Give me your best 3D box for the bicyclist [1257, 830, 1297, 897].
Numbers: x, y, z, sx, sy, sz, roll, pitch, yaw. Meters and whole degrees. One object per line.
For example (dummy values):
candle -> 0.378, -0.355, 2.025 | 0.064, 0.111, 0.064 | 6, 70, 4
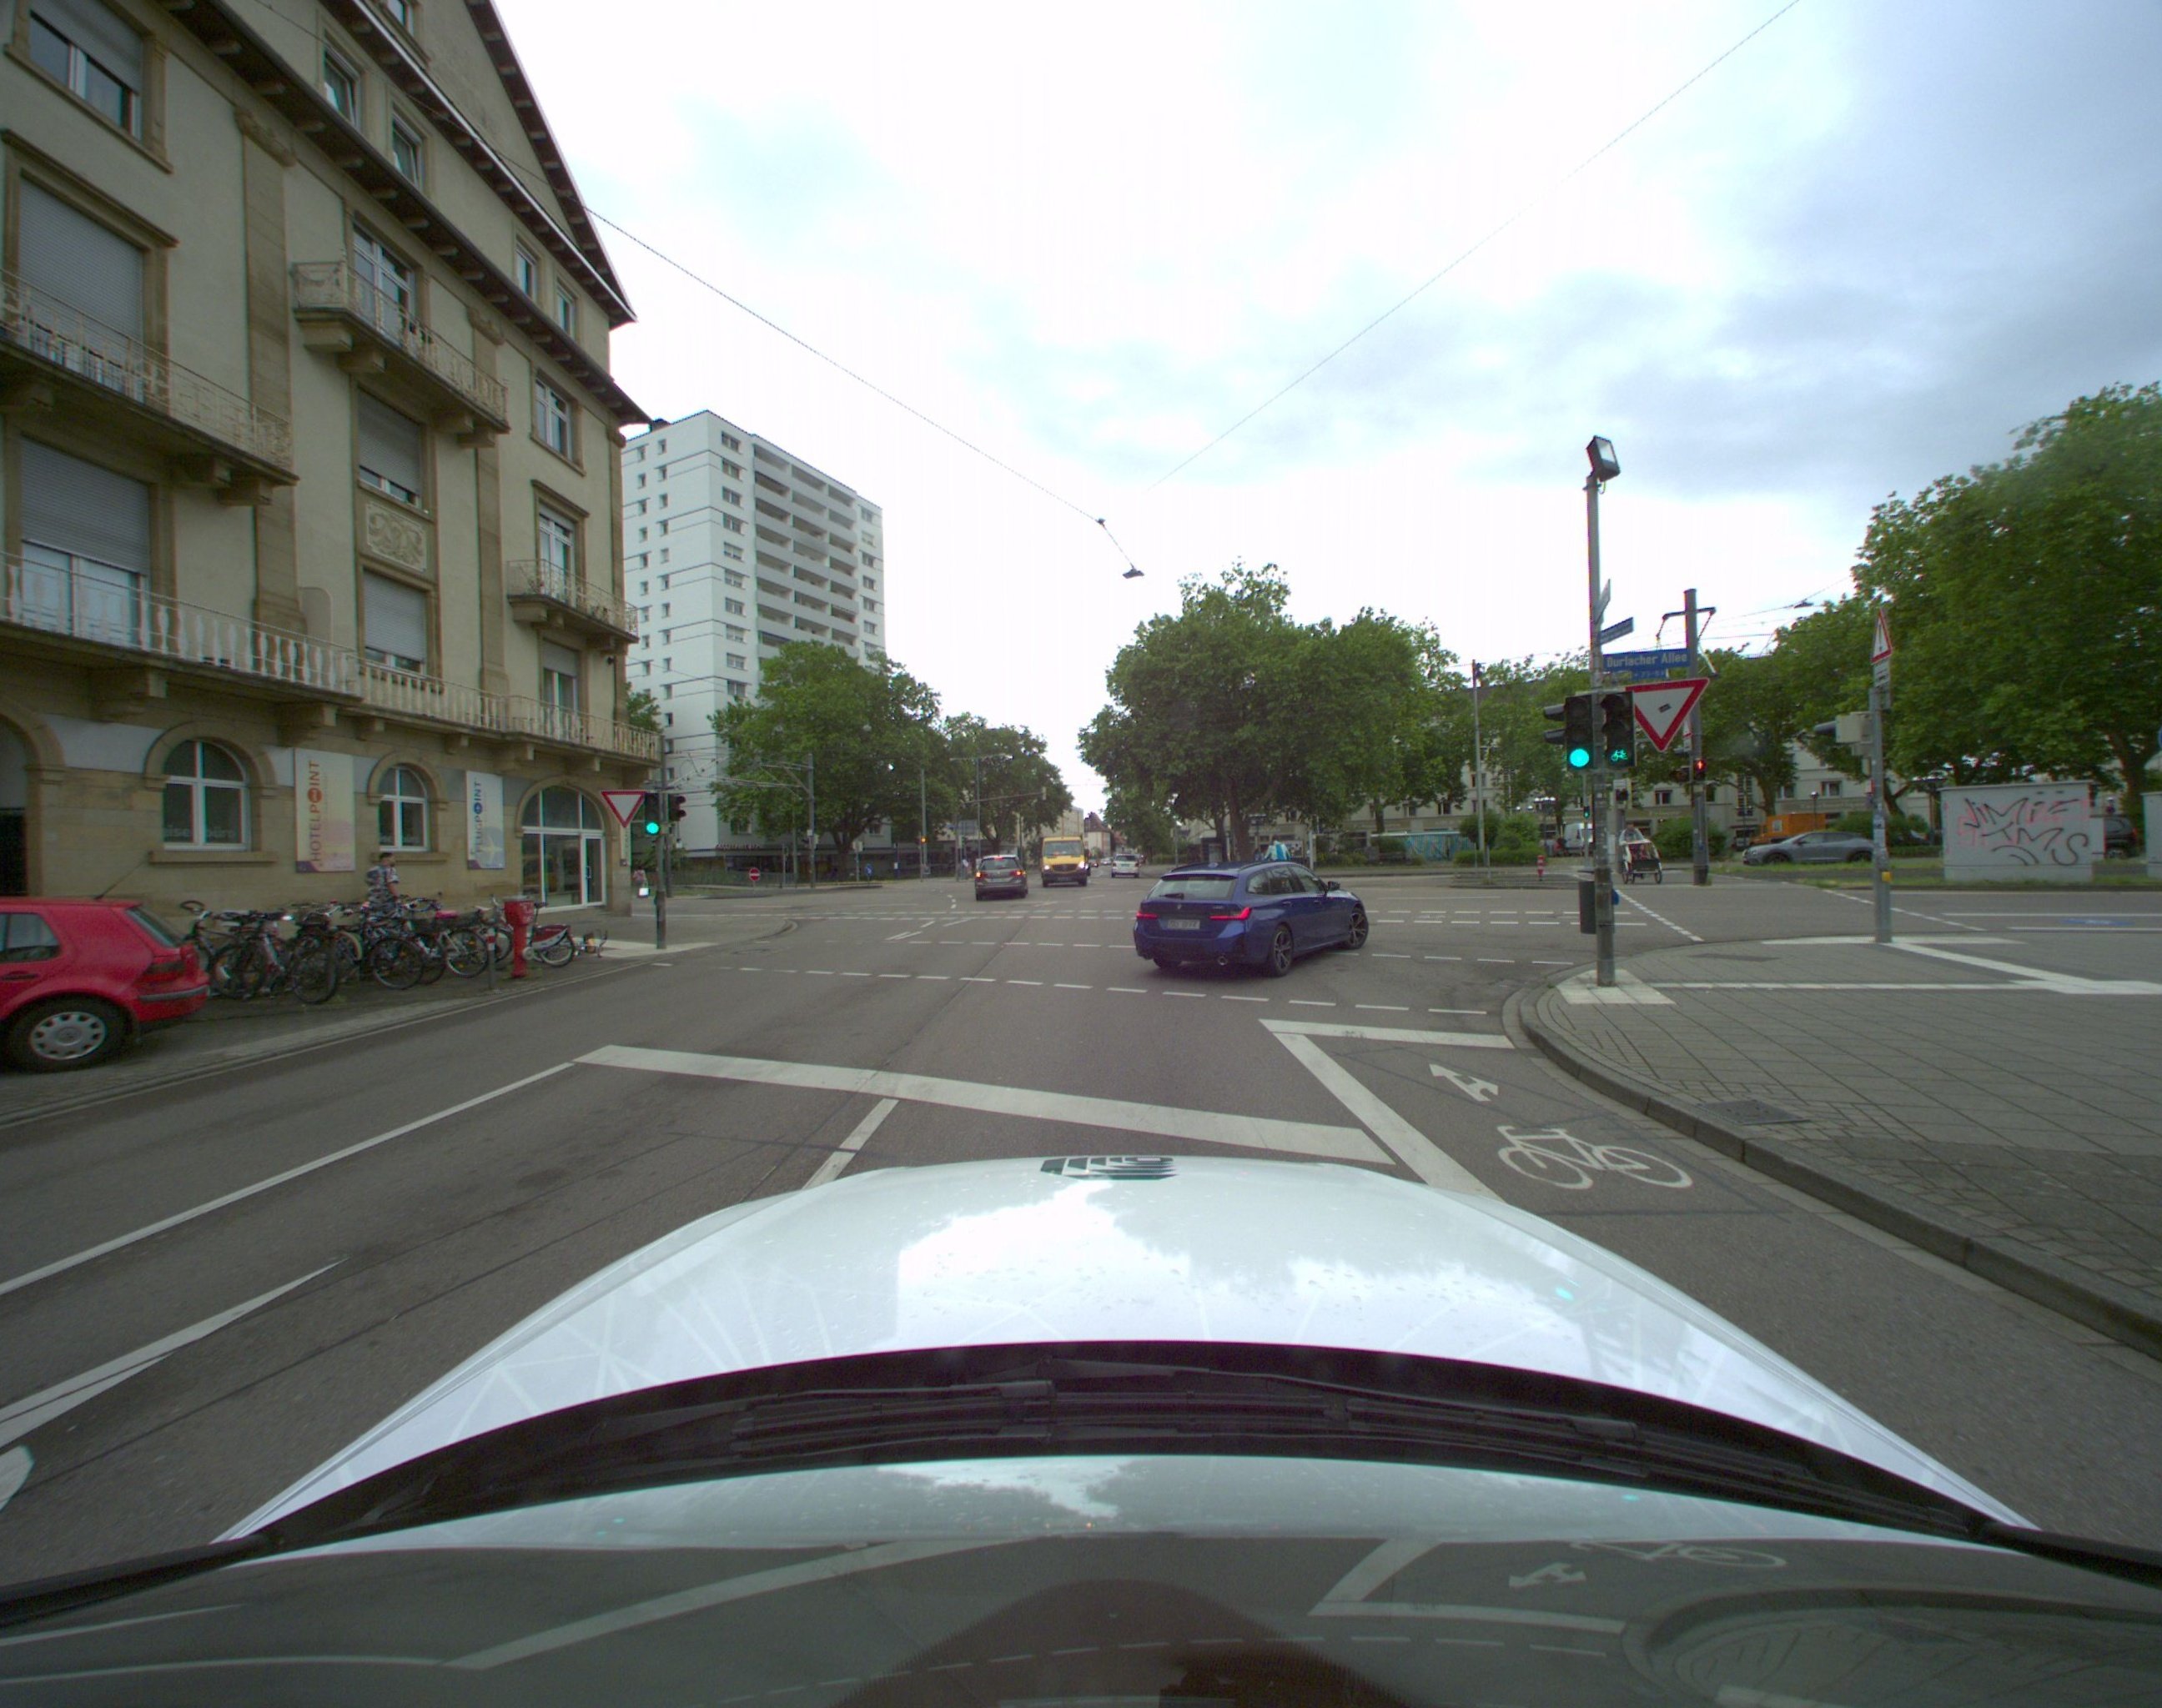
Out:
bicyclist -> 4.603, 0.221, 19.186 | 0.683, 1.517, 1.059 | -2, 0, 2

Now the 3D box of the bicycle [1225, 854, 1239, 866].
bicycle -> 15.757, 0.622, 84.848 | 0.771, 1.168, 2.347 | -2, -1, 27

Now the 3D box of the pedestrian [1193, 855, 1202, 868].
pedestrian -> 11.874, 0.749, 83.083 | 0.850, 1.314, 0.763 | -2, -1, 2

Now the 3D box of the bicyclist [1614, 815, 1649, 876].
bicyclist -> 15.314, -0.236, 22.664 | 0.608, 1.654, 0.758 | -2, -1, 23

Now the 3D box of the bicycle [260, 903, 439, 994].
bicycle -> -9.603, 1.230, 10.717 | 1.880, 1.035, 0.442 | 4, 0, 0

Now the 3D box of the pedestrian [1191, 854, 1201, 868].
pedestrian -> 11.871, 0.728, 84.093 | 0.814, 1.372, 0.763 | -2, -1, 2

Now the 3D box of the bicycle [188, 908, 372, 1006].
bicycle -> -9.725, 1.230, 9.904 | 1.877, 1.036, 0.443 | 3, 0, 5

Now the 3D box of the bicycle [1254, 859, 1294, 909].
bicycle -> 4.557, 0.684, 19.327 | 0.492, 1.098, 2.140 | -2, 0, 2

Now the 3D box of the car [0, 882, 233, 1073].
car -> -9.839, 1.040, 6.651 | 1.663, 1.472, 4.024 | 0, 0, 43

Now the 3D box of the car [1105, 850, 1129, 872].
car -> 3.209, 0.601, 73.027 | 1.987, 1.848, 4.000 | -2, 0, 1

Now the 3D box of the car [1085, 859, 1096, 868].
car -> 1.714, 1.616, 144.537 | 1.846, 1.453, 4.170 | -2, 0, 2

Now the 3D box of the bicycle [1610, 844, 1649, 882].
bicycle -> 15.373, 0.237, 22.855 | 0.546, 0.995, 2.073 | -2, 0, 25

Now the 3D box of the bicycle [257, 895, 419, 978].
bicycle -> -11.082, 1.184, 12.253 | 0.499, 1.028, 1.998 | -2, 0, 3

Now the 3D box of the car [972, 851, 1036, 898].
car -> -2.721, 0.697, 29.680 | 1.726, 1.525, 4.002 | -2, 0, 2

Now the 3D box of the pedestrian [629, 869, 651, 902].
pedestrian -> -22.047, 1.586, 40.701 | 0.724, 1.602, 0.592 | -2, 0, 25

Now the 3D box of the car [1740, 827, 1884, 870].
car -> 29.392, -0.192, 32.903 | 3.940, 1.561, 1.697 | -2, -1, 25

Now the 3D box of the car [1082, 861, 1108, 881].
car -> 1.088, 1.266, 62.275 | 1.801, 1.427, 4.320 | -2, 0, 2

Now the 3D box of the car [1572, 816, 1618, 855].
car -> 38.220, -1.348, 60.697 | 2.214, 2.639, 5.479 | -2, 0, 26

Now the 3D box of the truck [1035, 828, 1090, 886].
truck -> -0.944, 0.137, 38.002 | 2.072, 2.408, 5.451 | -3, 0, -6

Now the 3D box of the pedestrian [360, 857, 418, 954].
pedestrian -> -13.211, 0.969, 15.552 | 0.564, 1.785, 0.551 | -2, 0, 3

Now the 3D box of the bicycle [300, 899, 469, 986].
bicycle -> -9.597, 1.215, 11.253 | 1.880, 1.035, 0.442 | 4, 0, 0

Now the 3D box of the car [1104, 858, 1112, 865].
car -> 6.192, 1.636, 184.664 | 1.760, 1.486, 4.003 | -2, 0, 3

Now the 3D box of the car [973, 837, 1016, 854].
car -> -9.187, -0.912, 86.369 | 4.008, 1.706, 1.982 | -1, -1, -27

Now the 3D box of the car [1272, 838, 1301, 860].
car -> 22.107, -0.549, 87.544 | 2.154, 2.200, 4.024 | -2, 0, 26

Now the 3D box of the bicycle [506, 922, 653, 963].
bicycle -> -8.640, 1.522, 14.109 | 1.880, 0.445, 1.029 | 4, 1, 0

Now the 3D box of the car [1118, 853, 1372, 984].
car -> 2.522, 0.769, 11.613 | 1.797, 1.405, 4.348 | -2, 0, 37

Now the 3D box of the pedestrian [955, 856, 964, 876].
pedestrian -> -11.022, 1.095, 73.915 | 0.570, 1.785, 0.622 | -2, 0, 10

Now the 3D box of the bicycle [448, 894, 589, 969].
bicycle -> -9.017, 1.234, 13.082 | 1.880, 1.035, 0.442 | 4, 0, 0

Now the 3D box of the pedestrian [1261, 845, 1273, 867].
pedestrian -> 15.557, 0.159, 68.036 | 0.781, 1.743, 0.925 | -2, -1, 1

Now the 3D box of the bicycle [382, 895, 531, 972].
bicycle -> -9.601, 1.216, 12.552 | 1.880, 1.035, 0.442 | 4, 0, 0

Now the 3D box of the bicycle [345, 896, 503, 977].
bicycle -> -9.590, 1.196, 11.916 | 1.880, 1.035, 0.442 | 4, 0, 0

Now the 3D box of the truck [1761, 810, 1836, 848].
truck -> 52.378, -1.759, 59.581 | 2.364, 2.591, 4.012 | -2, 0, 11

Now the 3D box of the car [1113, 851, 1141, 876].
car -> 3.074, 0.622, 55.246 | 1.808, 1.592, 4.002 | -2, 0, 2

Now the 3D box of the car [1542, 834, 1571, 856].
car -> 35.262, -0.704, 60.434 | 1.649, 1.515, 3.962 | -2, 0, 28
